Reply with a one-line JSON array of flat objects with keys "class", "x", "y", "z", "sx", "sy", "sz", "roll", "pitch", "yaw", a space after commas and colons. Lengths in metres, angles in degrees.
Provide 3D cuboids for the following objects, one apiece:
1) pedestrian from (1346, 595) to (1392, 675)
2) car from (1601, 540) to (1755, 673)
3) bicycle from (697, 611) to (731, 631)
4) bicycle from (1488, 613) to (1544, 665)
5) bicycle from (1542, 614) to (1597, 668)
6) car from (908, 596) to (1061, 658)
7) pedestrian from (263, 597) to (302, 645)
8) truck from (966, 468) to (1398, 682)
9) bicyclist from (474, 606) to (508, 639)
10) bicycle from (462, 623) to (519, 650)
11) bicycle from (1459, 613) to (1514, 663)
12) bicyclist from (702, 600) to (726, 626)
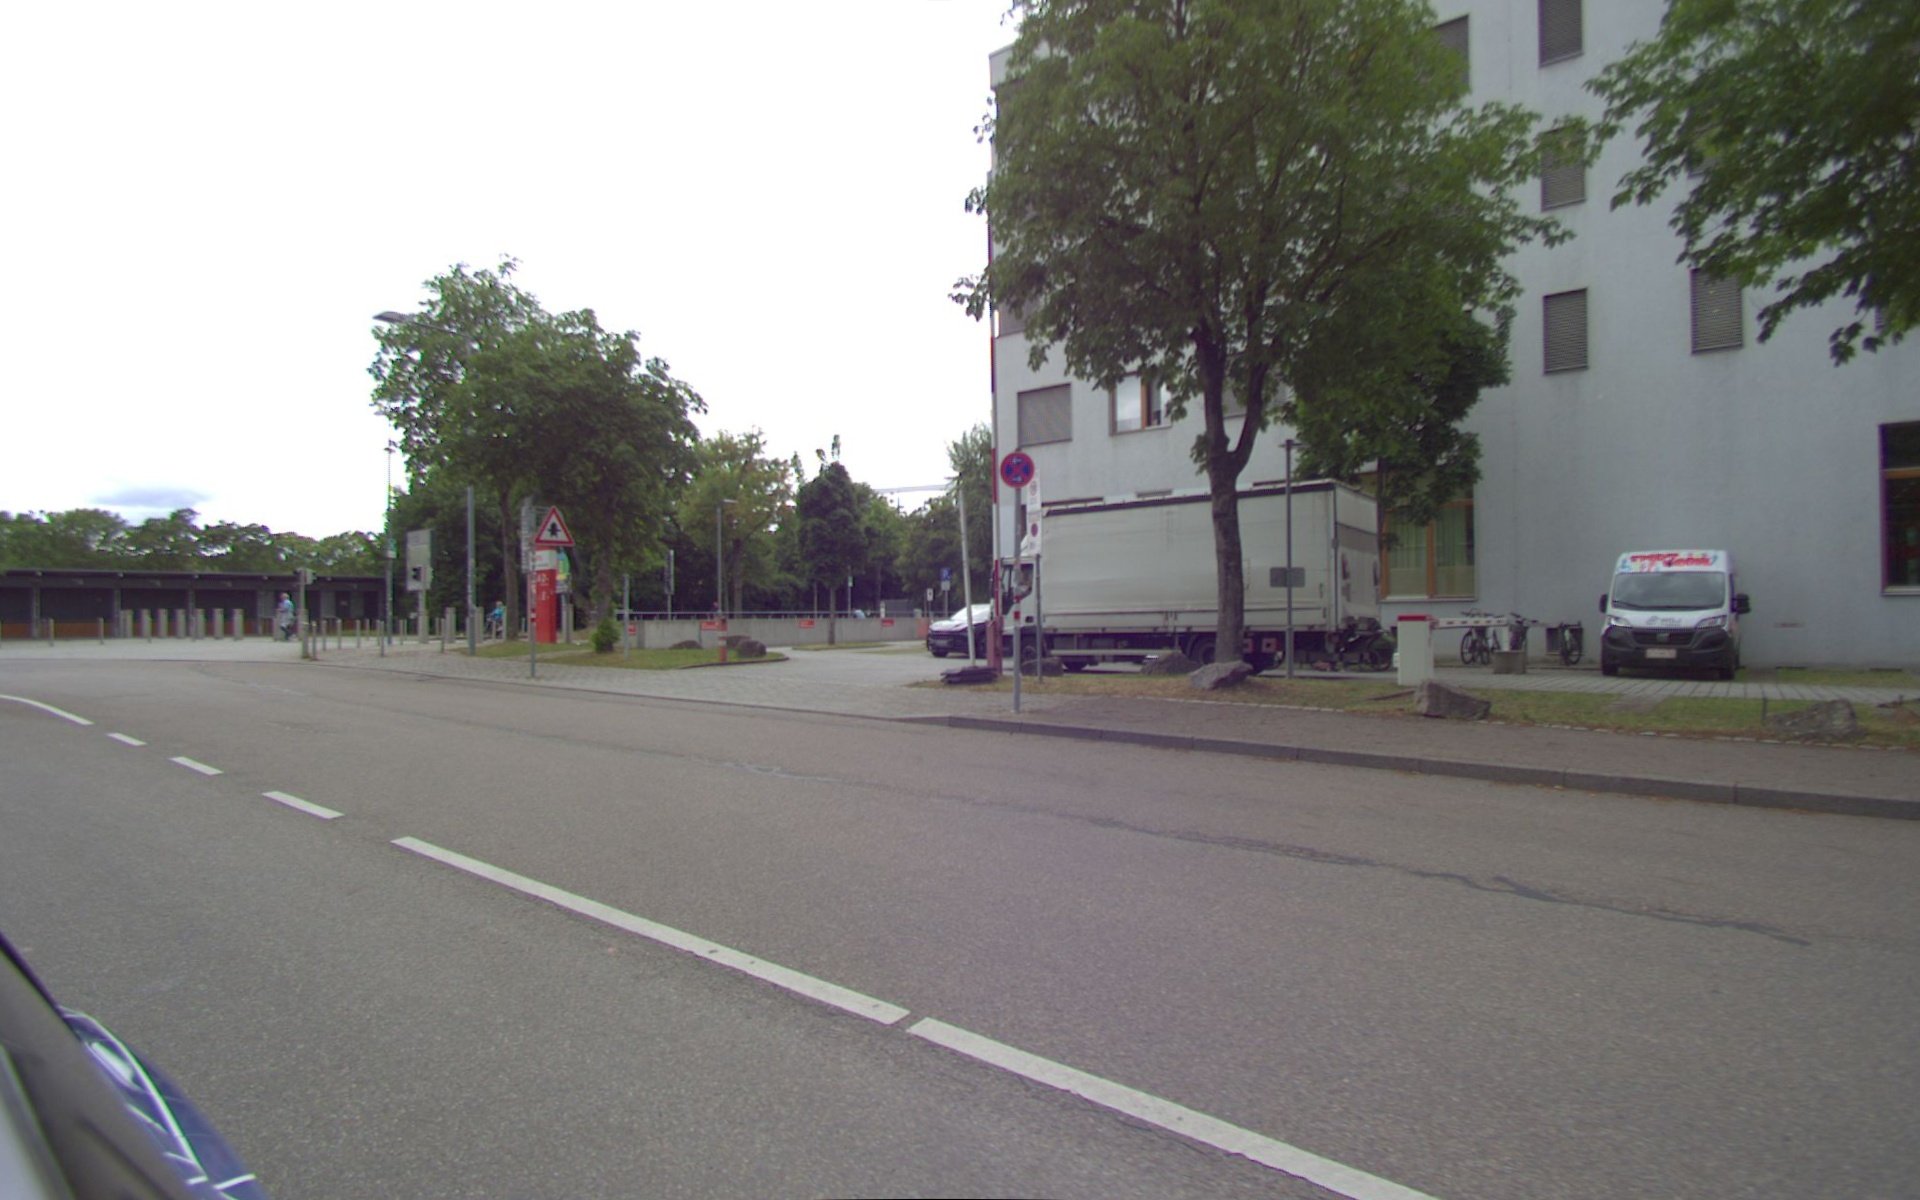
[{"class": "pedestrian", "x": 8.507, "y": 0.712, "z": 21.077, "sx": 0.882, "sy": 1.618, "sz": 0.675, "roll": 0, "pitch": 0, "yaw": 21}, {"class": "car", "x": 14.426, "y": 0.093, "z": 20.175, "sx": 2.077, "sy": 2.296, "sz": 5.569, "roll": 0, "pitch": 0, "yaw": 40}, {"class": "bicycle", "x": -14.830, "y": 1.242, "z": 61.071, "sx": 0.775, "sy": 1.152, "sz": 2.030, "roll": 1, "pitch": 1, "yaw": 30}, {"class": "bicycle", "x": 12.547, "y": 0.855, "z": 22.817, "sx": 0.614, "sy": 1.078, "sz": 2.003, "roll": 0, "pitch": 1, "yaw": 43}, {"class": "bicycle", "x": 13.276, "y": 0.859, "z": 22.019, "sx": 0.614, "sy": 1.078, "sz": 2.003, "roll": 0, "pitch": 1, "yaw": 43}, {"class": "car", "x": 0.872, "y": 0.742, "z": 30.819, "sx": 2.094, "sy": 1.705, "sz": 5.272, "roll": 0, "pitch": 0, "yaw": 35}, {"class": "pedestrian", "x": -26.483, "y": 0.797, "z": 39.538, "sx": 1.182, "sy": 1.847, "sz": 0.929, "roll": 0, "pitch": 1, "yaw": -39}, {"class": "truck", "x": 4.231, "y": -0.443, "z": 20.770, "sx": 8.354, "sy": 3.627, "sz": 2.651, "roll": 0, "pitch": 0, "yaw": 38}, {"class": "bicyclist", "x": -21.145, "y": 1.022, "z": 45.637, "sx": 0.742, "sy": 1.441, "sz": 1.145, "roll": 0, "pitch": 0, "yaw": 37}, {"class": "bicycle", "x": -21.144, "y": 1.630, "z": 45.633, "sx": 0.747, "sy": 1.132, "sz": 2.230, "roll": 0, "pitch": 1, "yaw": 37}, {"class": "bicycle", "x": 12.168, "y": 0.852, "z": 23.374, "sx": 0.614, "sy": 1.078, "sz": 2.003, "roll": 0, "pitch": 1, "yaw": 43}, {"class": "bicyclist", "x": -14.833, "y": 0.793, "z": 61.064, "sx": 0.924, "sy": 1.507, "sz": 1.090, "roll": 1, "pitch": 1, "yaw": 31}]
